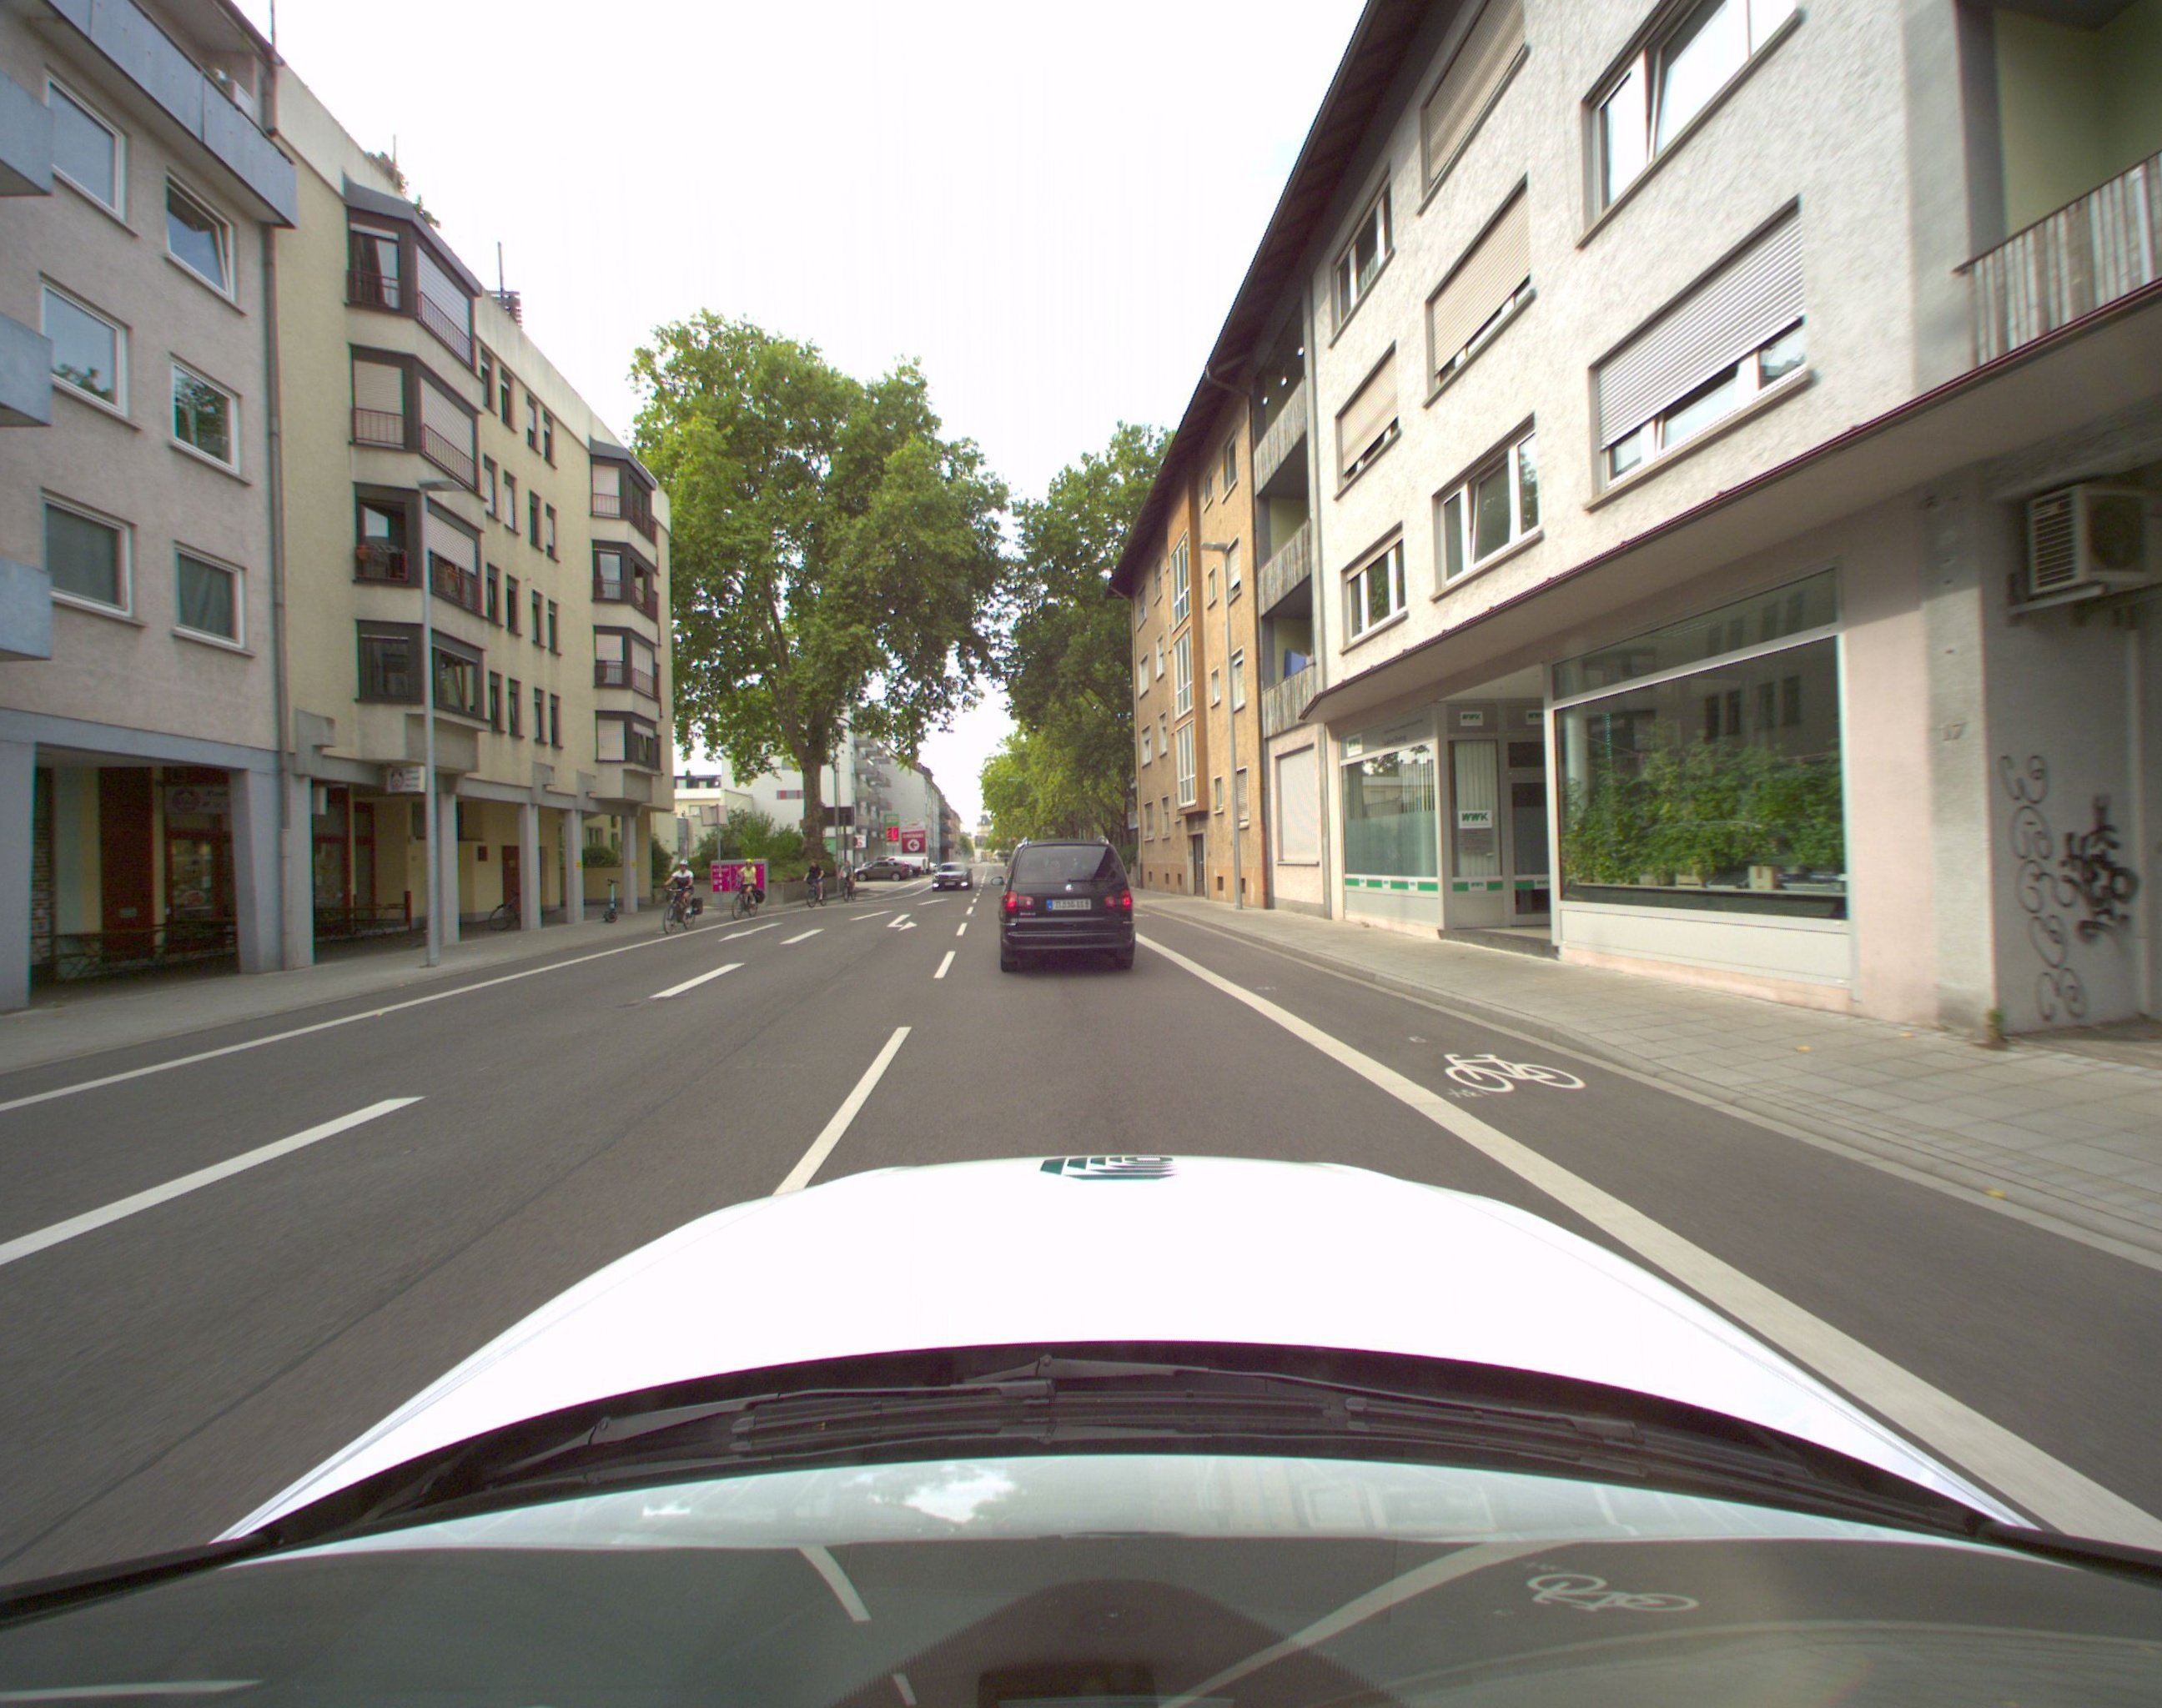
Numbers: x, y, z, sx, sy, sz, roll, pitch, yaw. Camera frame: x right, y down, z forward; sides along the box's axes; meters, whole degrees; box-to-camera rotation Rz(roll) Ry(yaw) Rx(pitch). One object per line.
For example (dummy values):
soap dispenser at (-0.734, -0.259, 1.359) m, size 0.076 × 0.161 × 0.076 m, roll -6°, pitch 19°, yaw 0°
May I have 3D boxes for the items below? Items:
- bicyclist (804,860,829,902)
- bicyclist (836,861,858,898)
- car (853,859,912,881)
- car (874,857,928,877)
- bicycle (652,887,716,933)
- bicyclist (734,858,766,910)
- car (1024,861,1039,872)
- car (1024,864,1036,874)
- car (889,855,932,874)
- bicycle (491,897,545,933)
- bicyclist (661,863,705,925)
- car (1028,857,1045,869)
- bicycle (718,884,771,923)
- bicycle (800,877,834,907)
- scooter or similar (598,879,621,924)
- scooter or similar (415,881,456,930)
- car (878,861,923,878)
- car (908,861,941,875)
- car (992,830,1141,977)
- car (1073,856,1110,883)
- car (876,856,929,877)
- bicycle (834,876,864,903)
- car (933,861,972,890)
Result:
bicyclist at (-9.882, 0.981, 30.425) m, size 0.655 × 1.525 × 0.856 m, roll 0°, pitch 1°, yaw -2°
bicyclist at (-9.920, 1.079, 34.525) m, size 0.655 × 1.525 × 1.075 m, roll 0°, pitch 1°, yaw -2°
car at (-15.678, 1.261, 64.478) m, size 4.251 × 1.605 × 1.964 m, roll 0°, pitch 1°, yaw -6°
car at (-17.278, 1.247, 78.464) m, size 4.912 × 1.903 × 1.995 m, roll 1°, pitch -1°, yaw -8°
bicycle at (-10.068, 1.405, 20.738) m, size 0.735 × 1.007 × 1.908 m, roll 0°, pitch 1°, yaw -2°
bicyclist at (-10.063, 0.896, 24.765) m, size 0.655 × 1.525 × 0.840 m, roll 0°, pitch 1°, yaw -2°
car at (-6.843, 1.658, 111.693) m, size 1.642 × 1.413 × 3.404 m, roll -1°, pitch 0°, yaw -10°
car at (-7.999, 2.340, 127.287) m, size 1.674 × 1.394 × 3.868 m, roll -1°, pitch -1°, yaw -7°
car at (-17.774, 1.093, 85.014) m, size 4.305 × 1.870 × 1.819 m, roll 1°, pitch -1°, yaw -8°
bicycle at (-14.837, 1.594, 21.483) m, size 0.429 × 0.821 × 1.615 m, roll -2°, pitch 0°, yaw -6°
bicyclist at (-10.122, 1.000, 20.737) m, size 0.655 × 1.525 × 1.001 m, roll 0°, pitch 1°, yaw -2°
car at (-5.252, 1.078, 96.425) m, size 1.674 × 1.394 × 4.449 m, roll -1°, pitch -1°, yaw -7°
bicycle at (-10.143, 1.474, 24.669) m, size 0.735 × 1.007 × 2.250 m, roll 0°, pitch 1°, yaw -2°
bicycle at (-9.852, 1.407, 30.432) m, size 0.736 × 1.007 × 1.974 m, roll 0°, pitch 1°, yaw -3°
scooter or similar at (-13.660, 1.350, 23.584) m, size 0.288 × 1.265 × 1.162 m, roll -1°, pitch -1°, yaw -44°
scooter or similar at (-17.201, 1.360, 21.706) m, size 0.286 × 1.201 × 1.173 m, roll -2°, pitch 1°, yaw -10°
car at (-16.171, 1.364, 73.085) m, size 3.679 × 1.444 × 1.749 m, roll 1°, pitch 0°, yaw -7°
car at (-16.758, 1.519, 87.397) m, size 3.341 × 1.497 × 1.591 m, roll 0°, pitch -1°, yaw -9°
car at (-0.351, 0.580, 11.774) m, size 1.810 × 1.766 × 3.730 m, roll -1°, pitch 0°, yaw -6°
car at (0.567, 0.874, 47.678) m, size 1.656 × 1.422 × 3.857 m, roll -2°, pitch 1°, yaw -7°
car at (-16.585, 1.129, 75.810) m, size 4.520 × 1.878 × 2.042 m, roll 1°, pitch -1°, yaw -6°
bicycle at (-9.805, 1.469, 34.504) m, size 0.736 × 1.007 × 2.193 m, roll 0°, pitch 1°, yaw -3°
car at (-6.730, 1.078, 42.985) m, size 1.808 × 1.408 × 4.598 m, roll -2°, pitch 0°, yaw -7°
